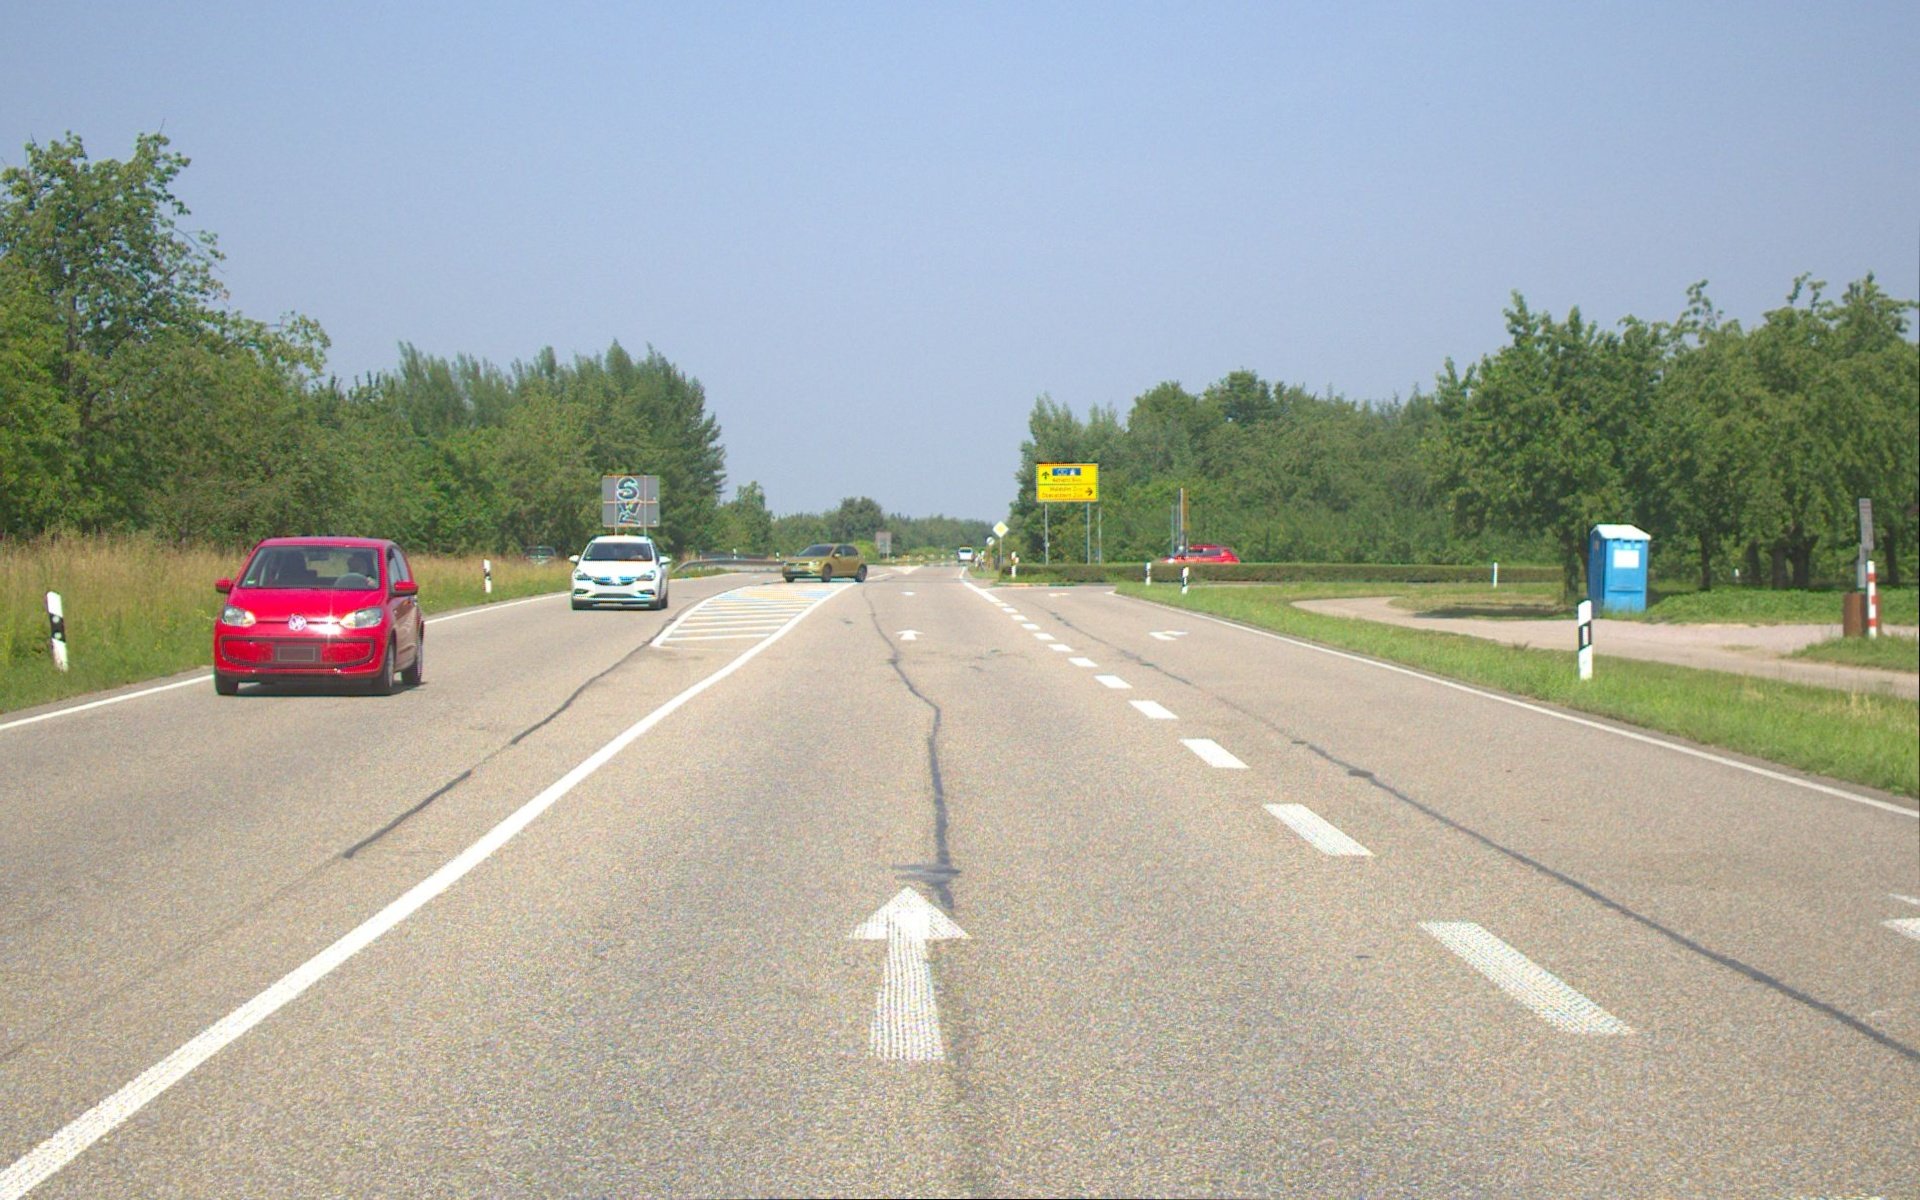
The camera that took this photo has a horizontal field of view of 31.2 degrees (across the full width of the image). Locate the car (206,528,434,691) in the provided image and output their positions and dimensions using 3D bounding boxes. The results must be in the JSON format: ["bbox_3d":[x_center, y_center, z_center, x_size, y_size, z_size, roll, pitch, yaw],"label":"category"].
[{"bbox_3d":[-6.069,0.050,32.952,1.625,1.452,3.622,1,1,-2],"label":"car"}]

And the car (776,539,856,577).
[{"bbox_3d":[-5.411,-1.586,129.920,1.699,1.411,3.821,1,1,20],"label":"car"}]

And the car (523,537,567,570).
[{"bbox_3d":[-17.950,-2.022,148.815,1.704,1.418,4.044,0,1,-5],"label":"car"}]

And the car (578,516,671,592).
[{"bbox_3d":[-6.821,-0.948,70.134,1.674,1.489,4.138,1,1,-3],"label":"car"}]

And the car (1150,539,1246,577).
[{"bbox_3d":[9.726,-1.717,140.567,3.739,1.487,1.672,1,1,-2],"label":"car"}]
